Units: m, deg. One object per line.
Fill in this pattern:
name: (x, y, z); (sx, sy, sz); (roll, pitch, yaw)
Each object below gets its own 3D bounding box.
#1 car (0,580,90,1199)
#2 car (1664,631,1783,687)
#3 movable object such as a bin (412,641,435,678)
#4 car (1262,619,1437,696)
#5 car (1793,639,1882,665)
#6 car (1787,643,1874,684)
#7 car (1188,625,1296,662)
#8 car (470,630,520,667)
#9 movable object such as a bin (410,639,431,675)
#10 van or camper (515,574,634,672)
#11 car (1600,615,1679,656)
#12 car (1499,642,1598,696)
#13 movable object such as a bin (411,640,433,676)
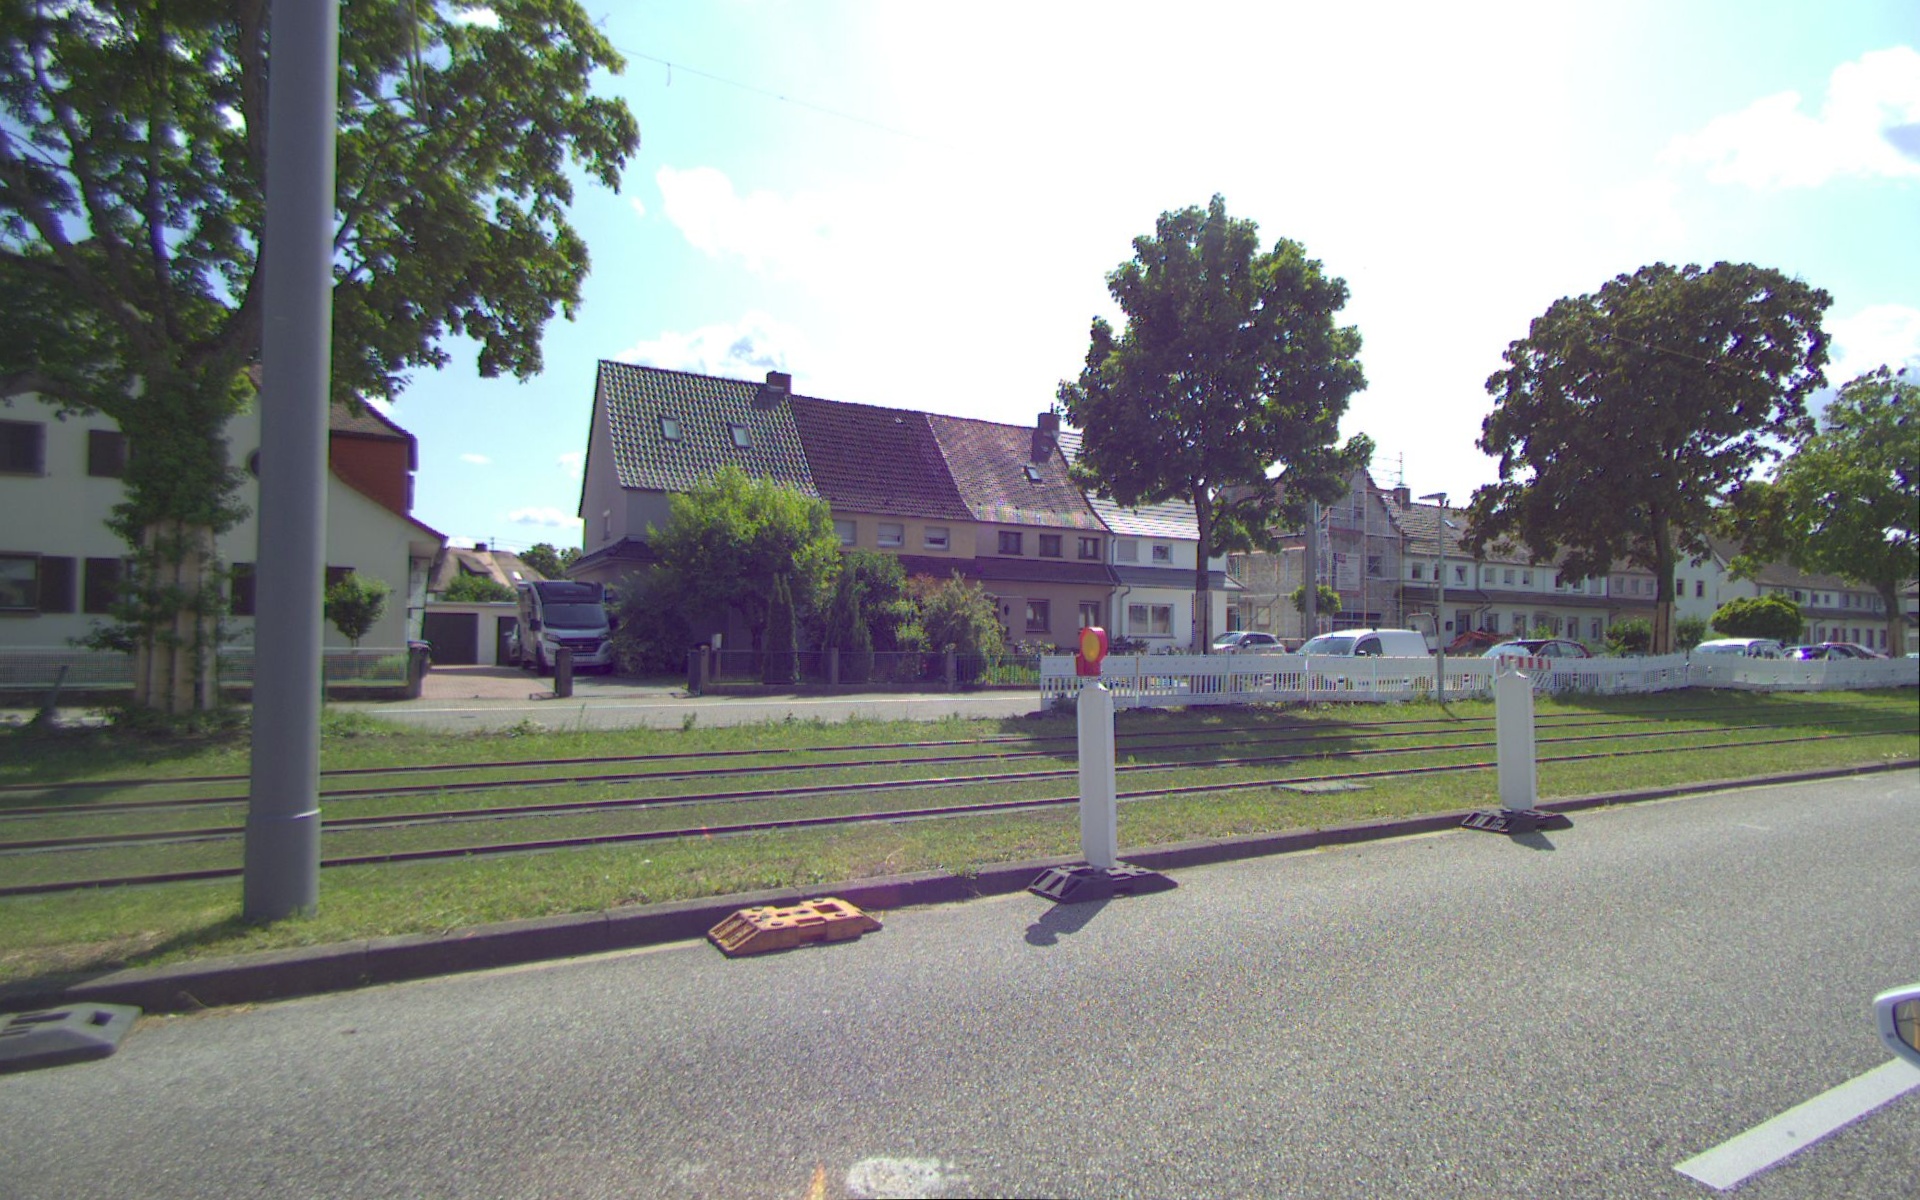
car: (-3.504, 0.648, 1.003); (3.675, 1.488, 1.571); (2, -2, -29)
car: (24.366, 1.898, 32.035); (3.852, 1.673, 1.616); (3, -3, -29)
movable object such as a bin: (-13.484, 1.494, 25.249); (0.453, 0.879, 0.471); (2, 0, -30)
car: (8.968, 1.330, 23.084); (3.953, 1.647, 1.646); (3, -3, -29)
car: (55.689, 3.270, 63.821); (1.705, 1.529, 3.968); (2, -2, -29)
car: (30.622, 2.234, 35.335); (3.077, 1.395, 1.344); (3, -3, -29)
car: (10.731, 1.655, 38.171); (4.071, 1.291, 1.527); (3, -3, -29)
car: (-17.154, 1.771, 37.022); (1.330, 1.189, 2.847); (3, 0, -32)
movable object such as a bin: (-13.984, 1.479, 26.039); (0.453, 0.879, 0.471); (2, 0, -30)
van or camper: (-11.926, 0.632, 30.733); (2.470, 2.667, 6.305); (3, 0, -29)
car: (37.116, 1.940, 54.845); (3.953, 2.040, 1.984); (3, 0, -30)
car: (15.416, 1.797, 26.307); (2.416, 1.365, 1.069); (2, -3, -26)
movable object such as a bin: (-13.735, 1.486, 25.646); (0.453, 0.879, 0.471); (2, 0, -30)
